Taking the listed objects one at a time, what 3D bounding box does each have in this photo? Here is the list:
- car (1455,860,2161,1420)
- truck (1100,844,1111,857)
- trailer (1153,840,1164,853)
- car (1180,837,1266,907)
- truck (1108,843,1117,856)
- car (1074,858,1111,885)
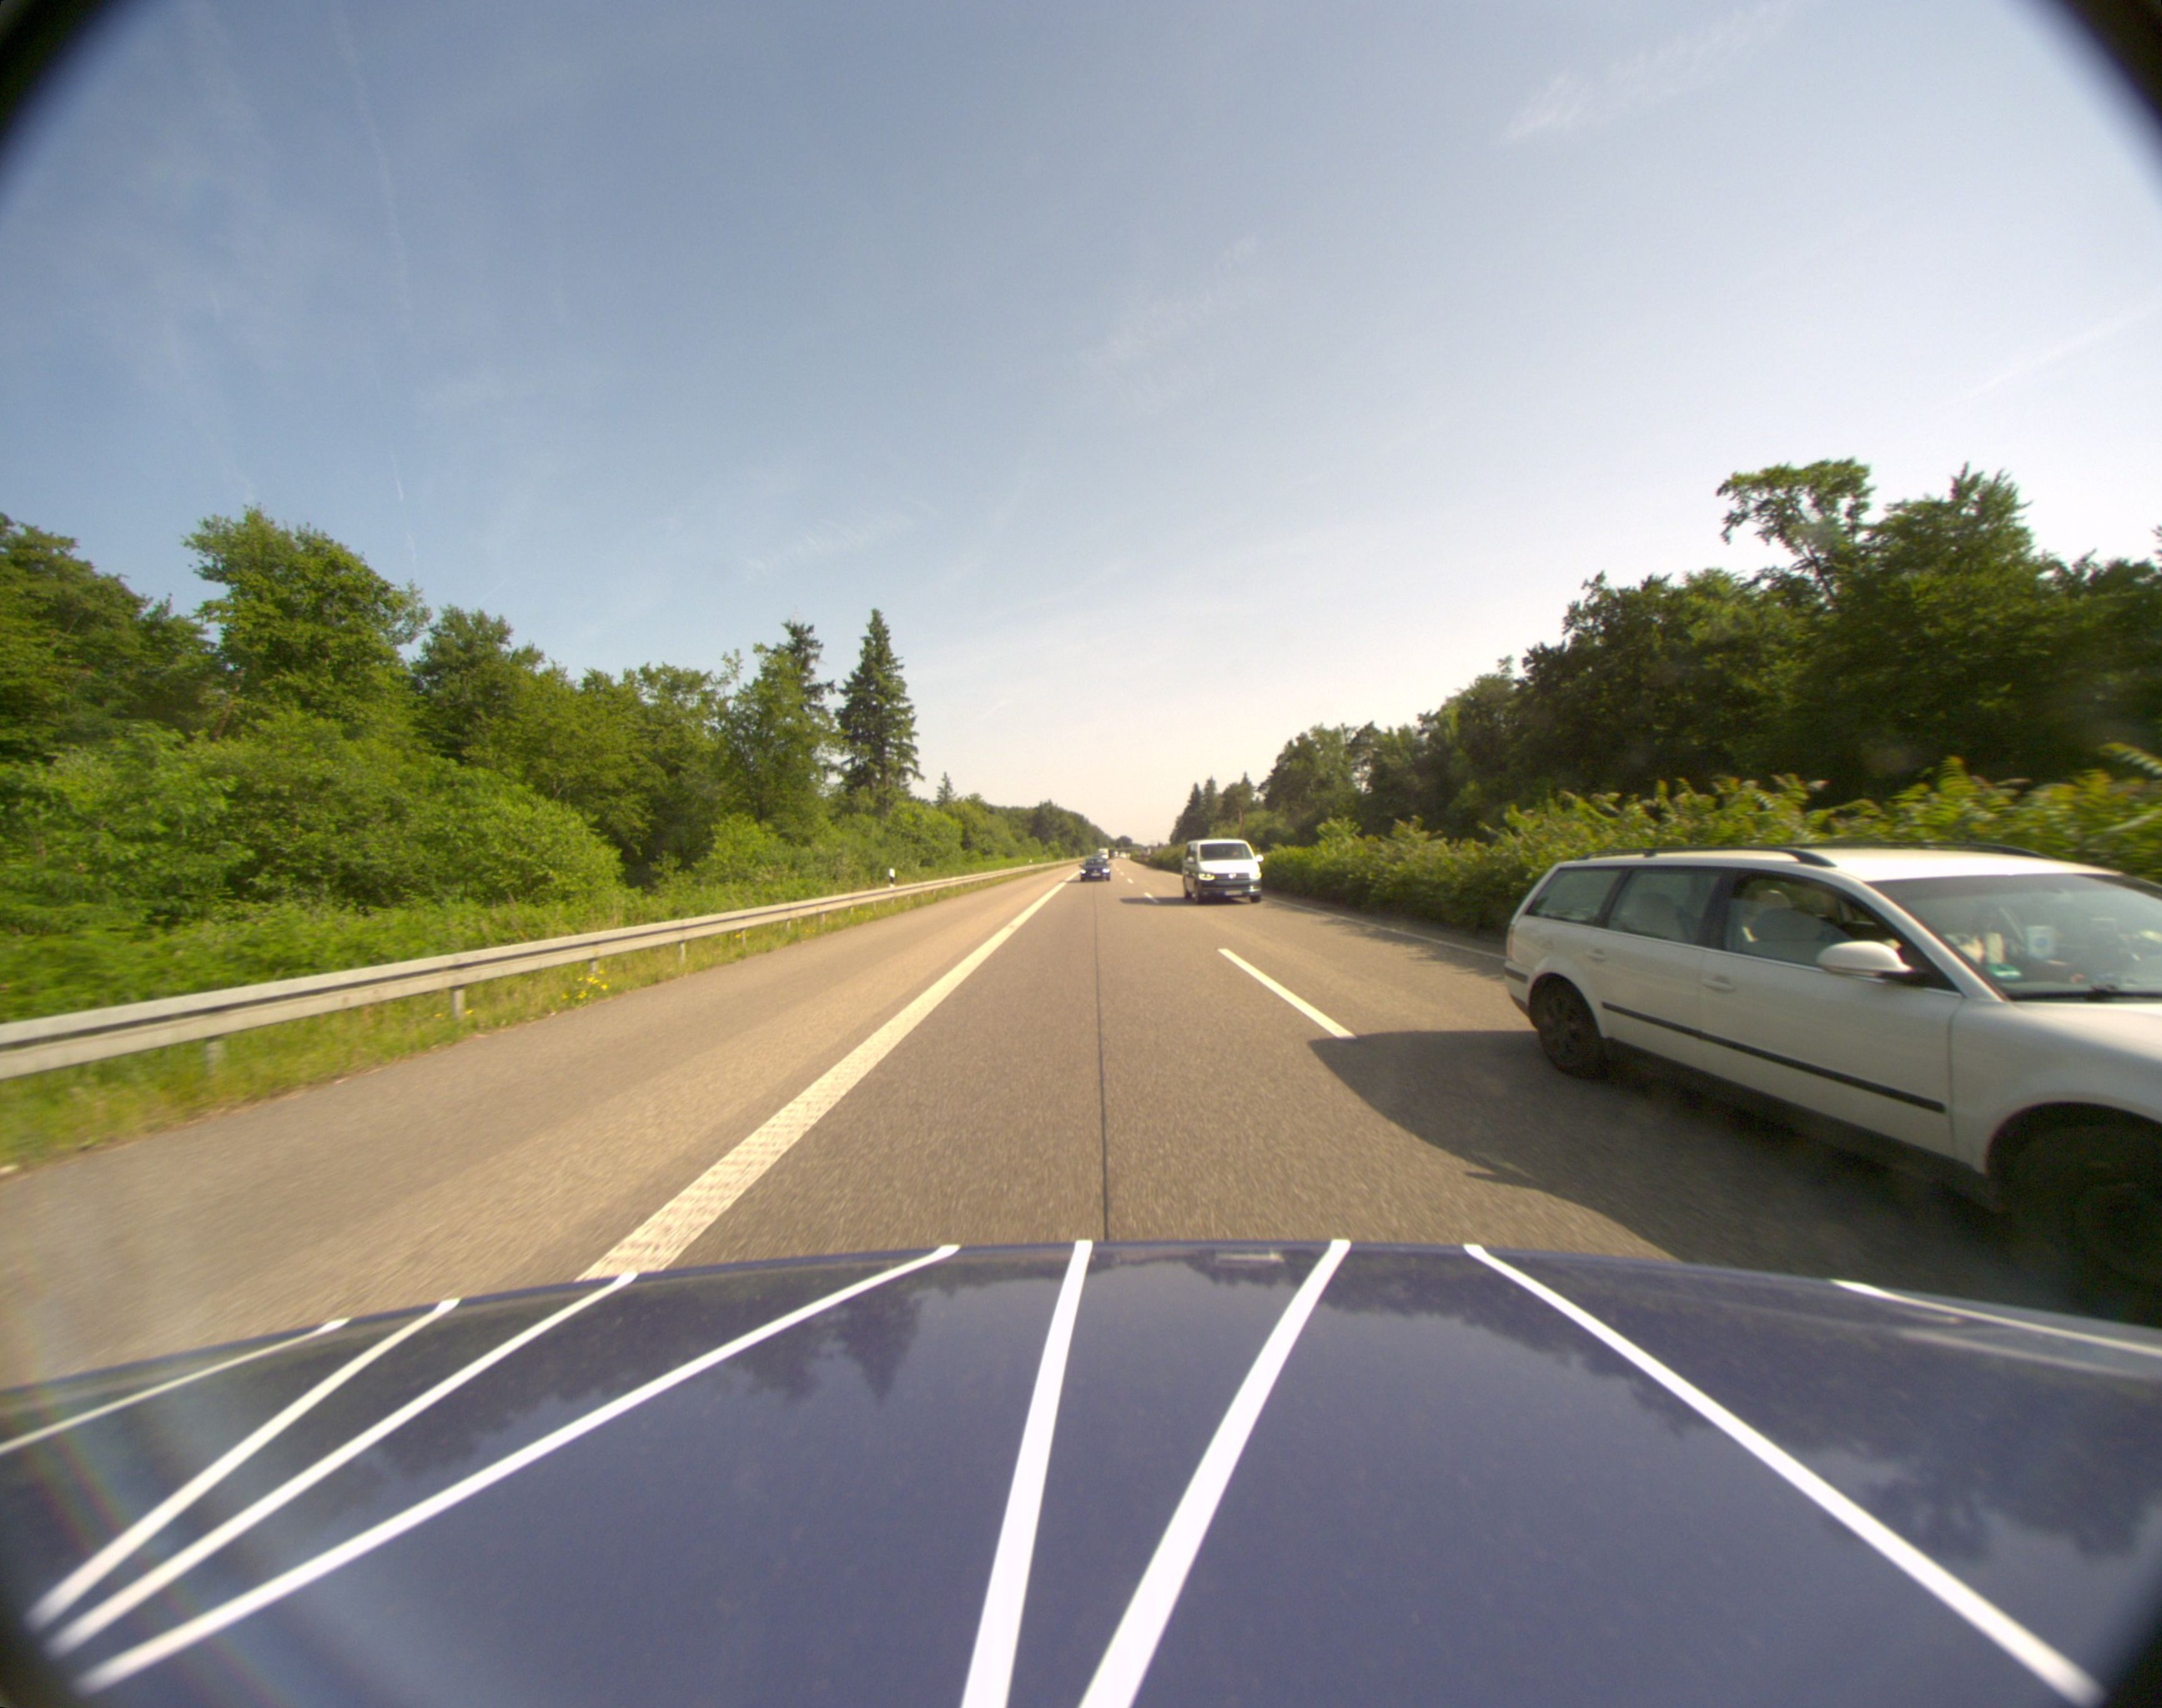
[{"bbox_3d":[3.922,0.828,3.542,1.754,1.477,5.263,-2,0,0],"label":"car"},{"bbox_3d":[6.257,-0.872,193.875,2.694,3.020,10.373,-2,0,3],"label":"truck"},{"bbox_3d":[26.506,-2.455,260.705,2.839,4.184,12.412,-1,0,2],"label":"trailer"},{"bbox_3d":[4.347,0.489,23.966,1.912,1.934,4.707,-2,0,2],"label":"car"},{"bbox_3d":[10.645,-1.589,255.145,2.694,4.061,12.366,-2,0,2],"label":"truck"},{"bbox_3d":[0.675,0.931,41.006,1.788,1.285,3.539,-2,0,4],"label":"car"}]
